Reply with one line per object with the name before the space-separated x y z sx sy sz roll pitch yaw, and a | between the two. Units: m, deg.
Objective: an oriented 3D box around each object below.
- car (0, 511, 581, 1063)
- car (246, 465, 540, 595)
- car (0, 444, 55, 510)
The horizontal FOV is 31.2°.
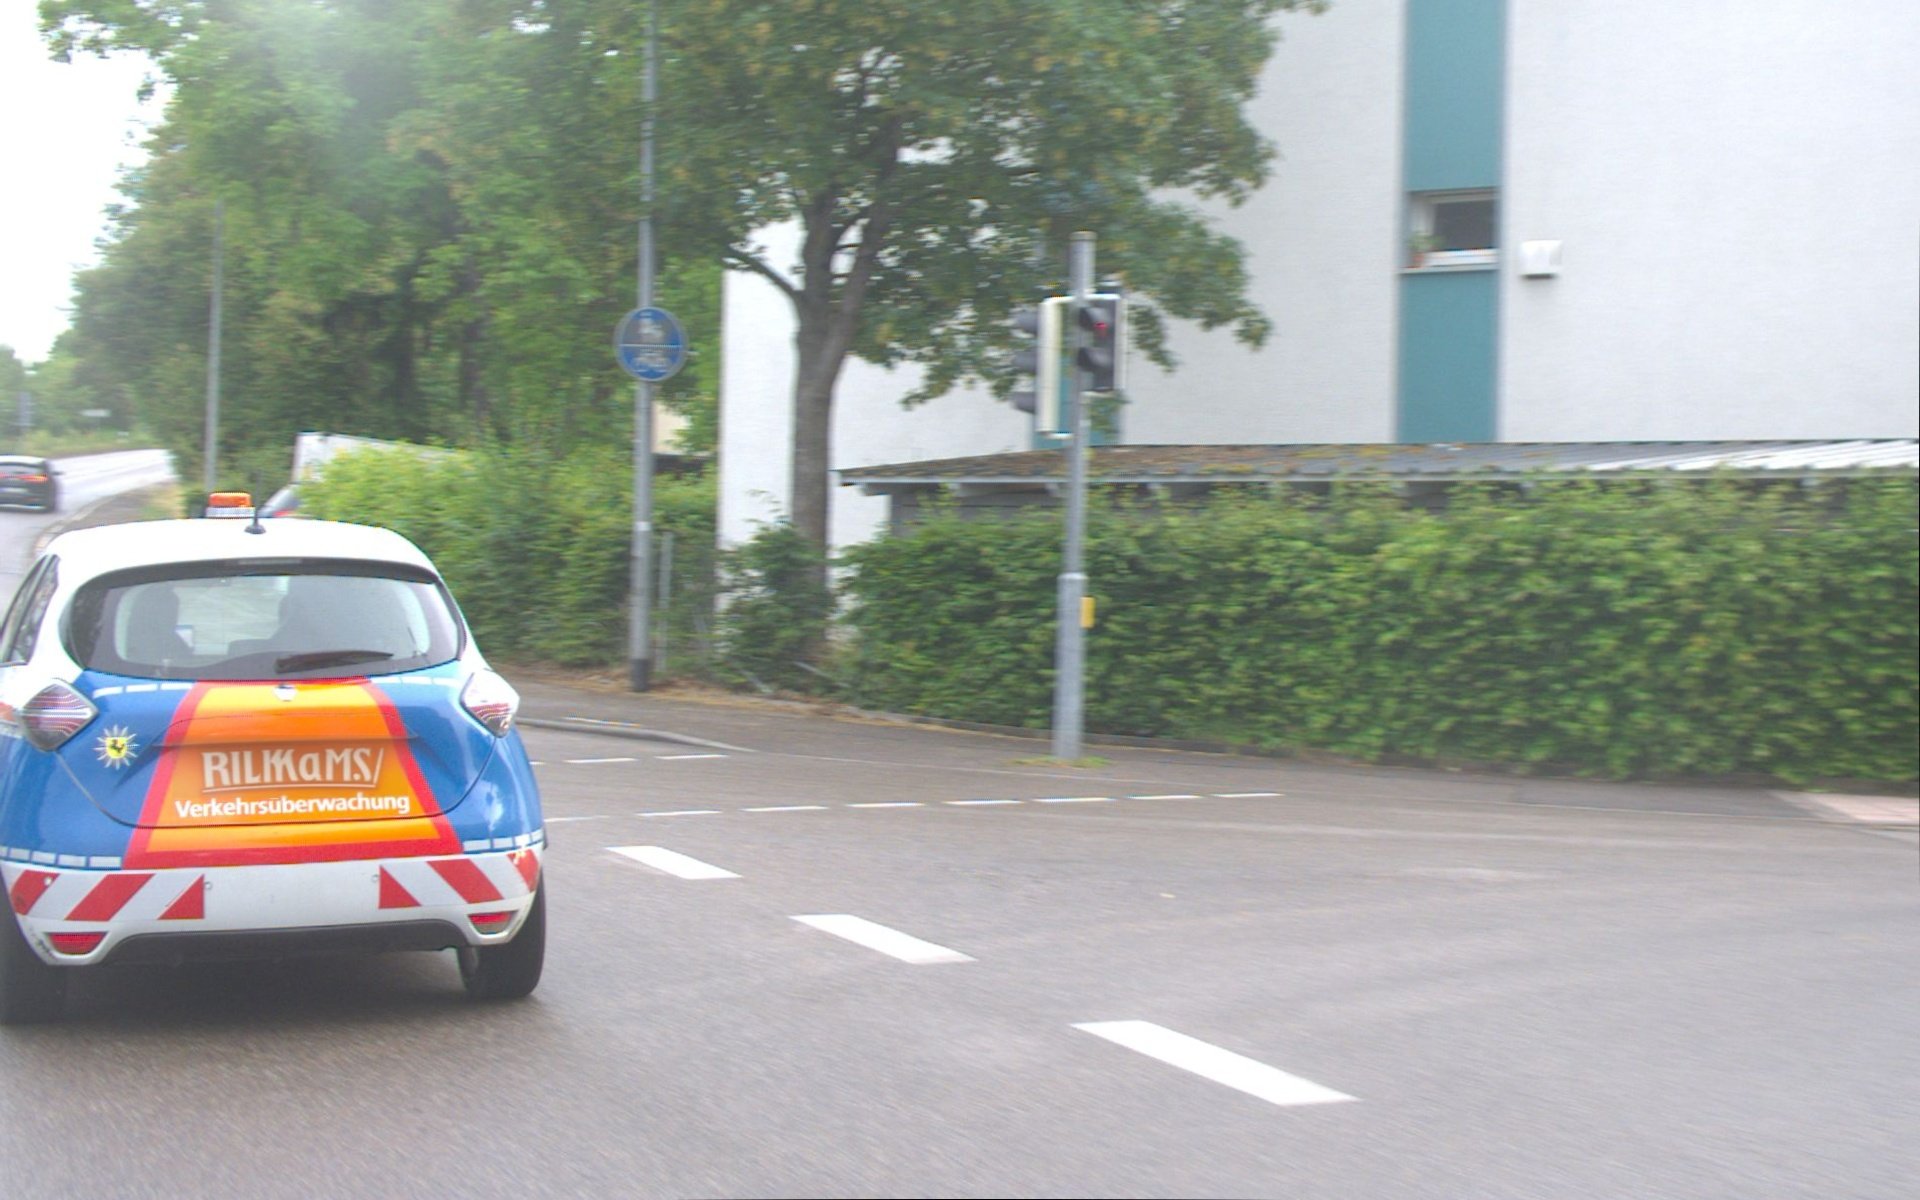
car | -2.627 0.516 11.964 1.745 1.576 4.001 0 1 -19
car | -8.100 -1.010 48.922 3.986 1.717 2.001 1 2 -13
car | -24.933 -3.219 90.133 1.993 1.678 4.001 1 1 -11
